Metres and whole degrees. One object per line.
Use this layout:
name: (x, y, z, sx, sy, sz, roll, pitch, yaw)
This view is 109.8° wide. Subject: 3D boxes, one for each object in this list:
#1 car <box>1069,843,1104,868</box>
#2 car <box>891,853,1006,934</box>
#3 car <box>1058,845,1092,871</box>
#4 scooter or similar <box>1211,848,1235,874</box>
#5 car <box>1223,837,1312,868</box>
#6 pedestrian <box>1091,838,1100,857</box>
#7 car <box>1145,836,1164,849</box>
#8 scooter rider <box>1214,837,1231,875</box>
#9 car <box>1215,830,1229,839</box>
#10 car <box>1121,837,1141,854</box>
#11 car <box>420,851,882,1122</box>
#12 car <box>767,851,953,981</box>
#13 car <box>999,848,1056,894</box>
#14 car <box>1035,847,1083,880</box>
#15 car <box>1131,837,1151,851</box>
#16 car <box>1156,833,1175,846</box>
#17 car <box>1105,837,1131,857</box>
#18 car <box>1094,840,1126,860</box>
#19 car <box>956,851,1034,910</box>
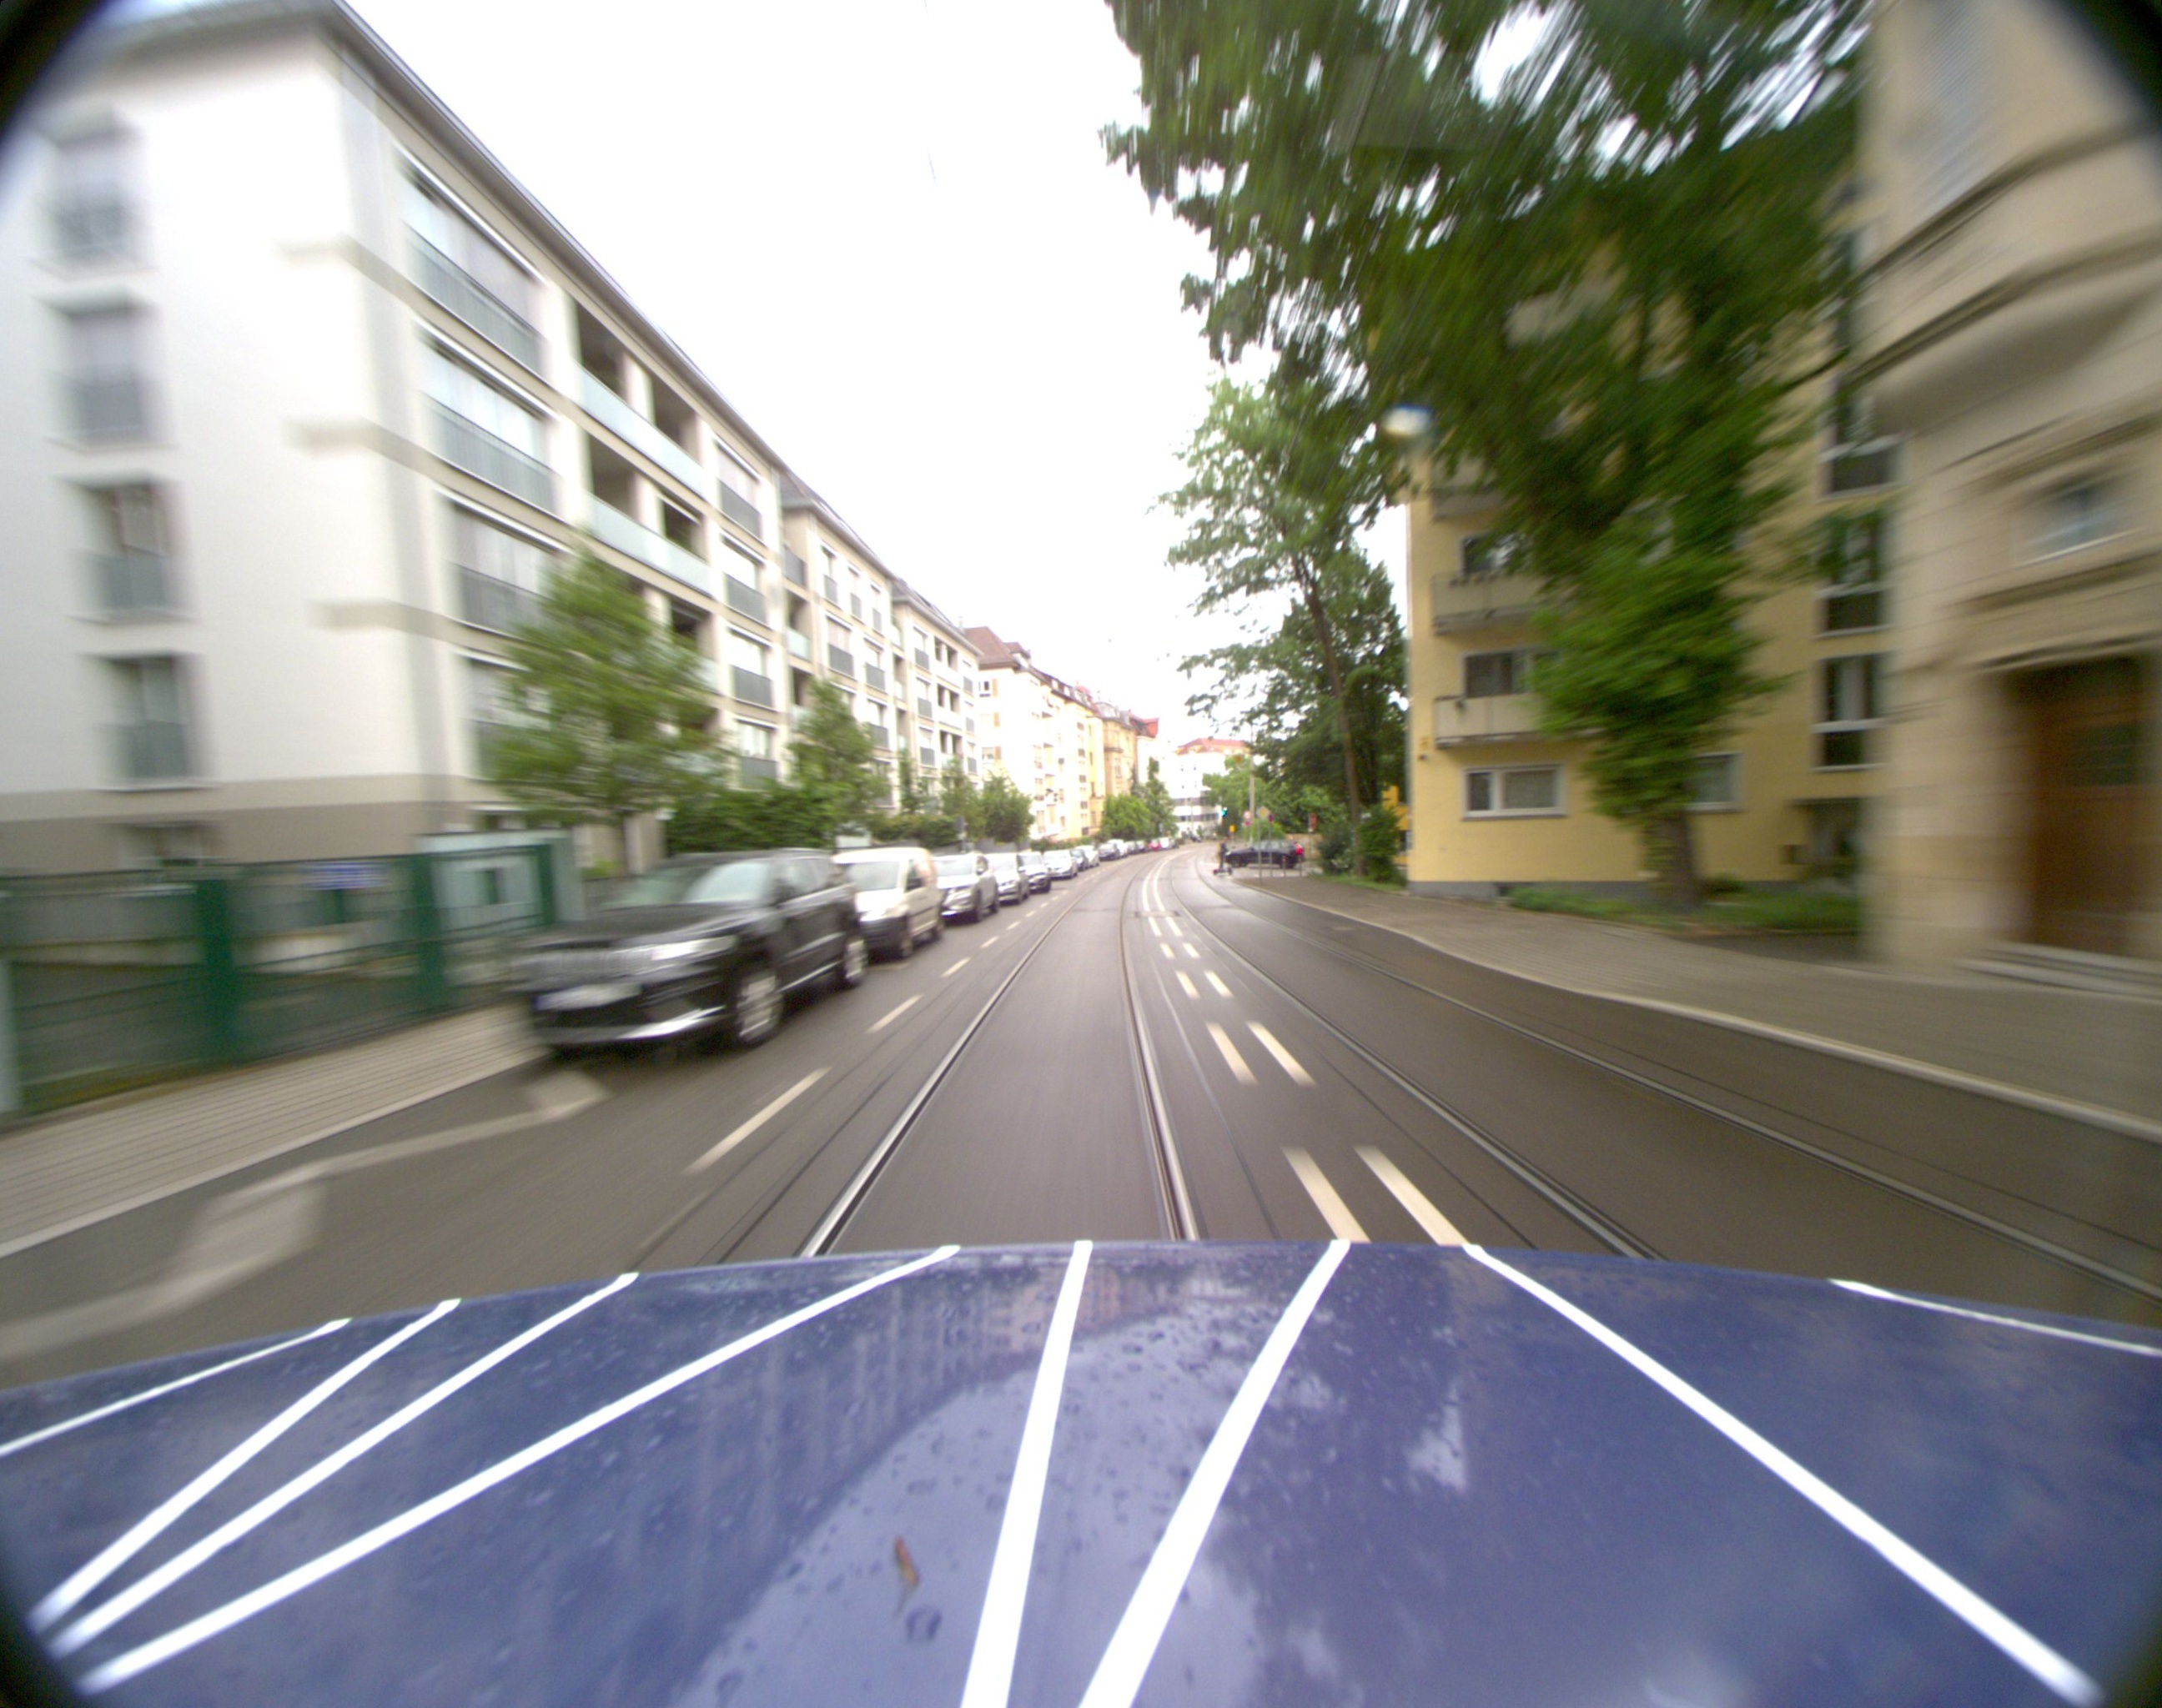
car: (0.438, 0.070, 52.483, 1.721, 1.459, 4.392, -3, 1, 9)
car: (-3.208, 0.885, 19.434, 1.836, 1.647, 4.686, -3, 1, 3)
car: (-0.336, 0.224, 47.680, 1.599, 1.416, 3.516, -3, 1, 7)
scooter or similar: (7.145, 0.336, 38.303, 1.089, 1.254, 0.645, -1, 2, -4)
car: (11.021, -0.099, 44.932, 4.759, 1.669, 2.074, 0, 3, 26)
pedestrian: (1.272, -0.576, 66.176, 0.716, 1.704, 0.665, 0, 3, 13)
car: (8.638, -1.411, 89.398, 1.555, 1.360, 3.126, -4, 2, 17)
scooter rider: (7.128, 0.097, 38.293, 0.689, 1.847, 0.645, -1, 2, -4)
car: (26.486, -3.751, 142.571, 1.796, 1.502, 4.004, -2, 3, 23)
car: (5.071, -0.879, 77.042, 1.590, 1.434, 3.477, -4, 2, 10)
car: (-3.766, 0.963, 7.961, 1.947, 1.785, 4.820, -4, 1, 0)
car: (-3.608, 0.896, 13.356, 1.783, 1.785, 4.471, -3, 1, 1)
car: (-2.093, 0.635, 30.770, 1.980, 1.576, 4.565, -3, 1, -1)
car: (-1.101, 0.465, 40.391, 1.862, 1.507, 4.790, -3, 1, 6)
car: (6.570, -1.083, 82.292, 1.658, 1.360, 3.637, -4, 2, 11)
car: (10.920, -1.840, 98.008, 1.612, 1.434, 3.691, -4, 2, 17)
car: (3.372, -0.629, 68.261, 1.797, 1.613, 3.869, -4, 2, 9)
car: (2.442, -0.354, 63.094, 1.797, 1.444, 4.105, -4, 2, 12)
car: (-2.704, 0.788, 25.047, 1.836, 1.618, 4.663, -3, 1, 2)
